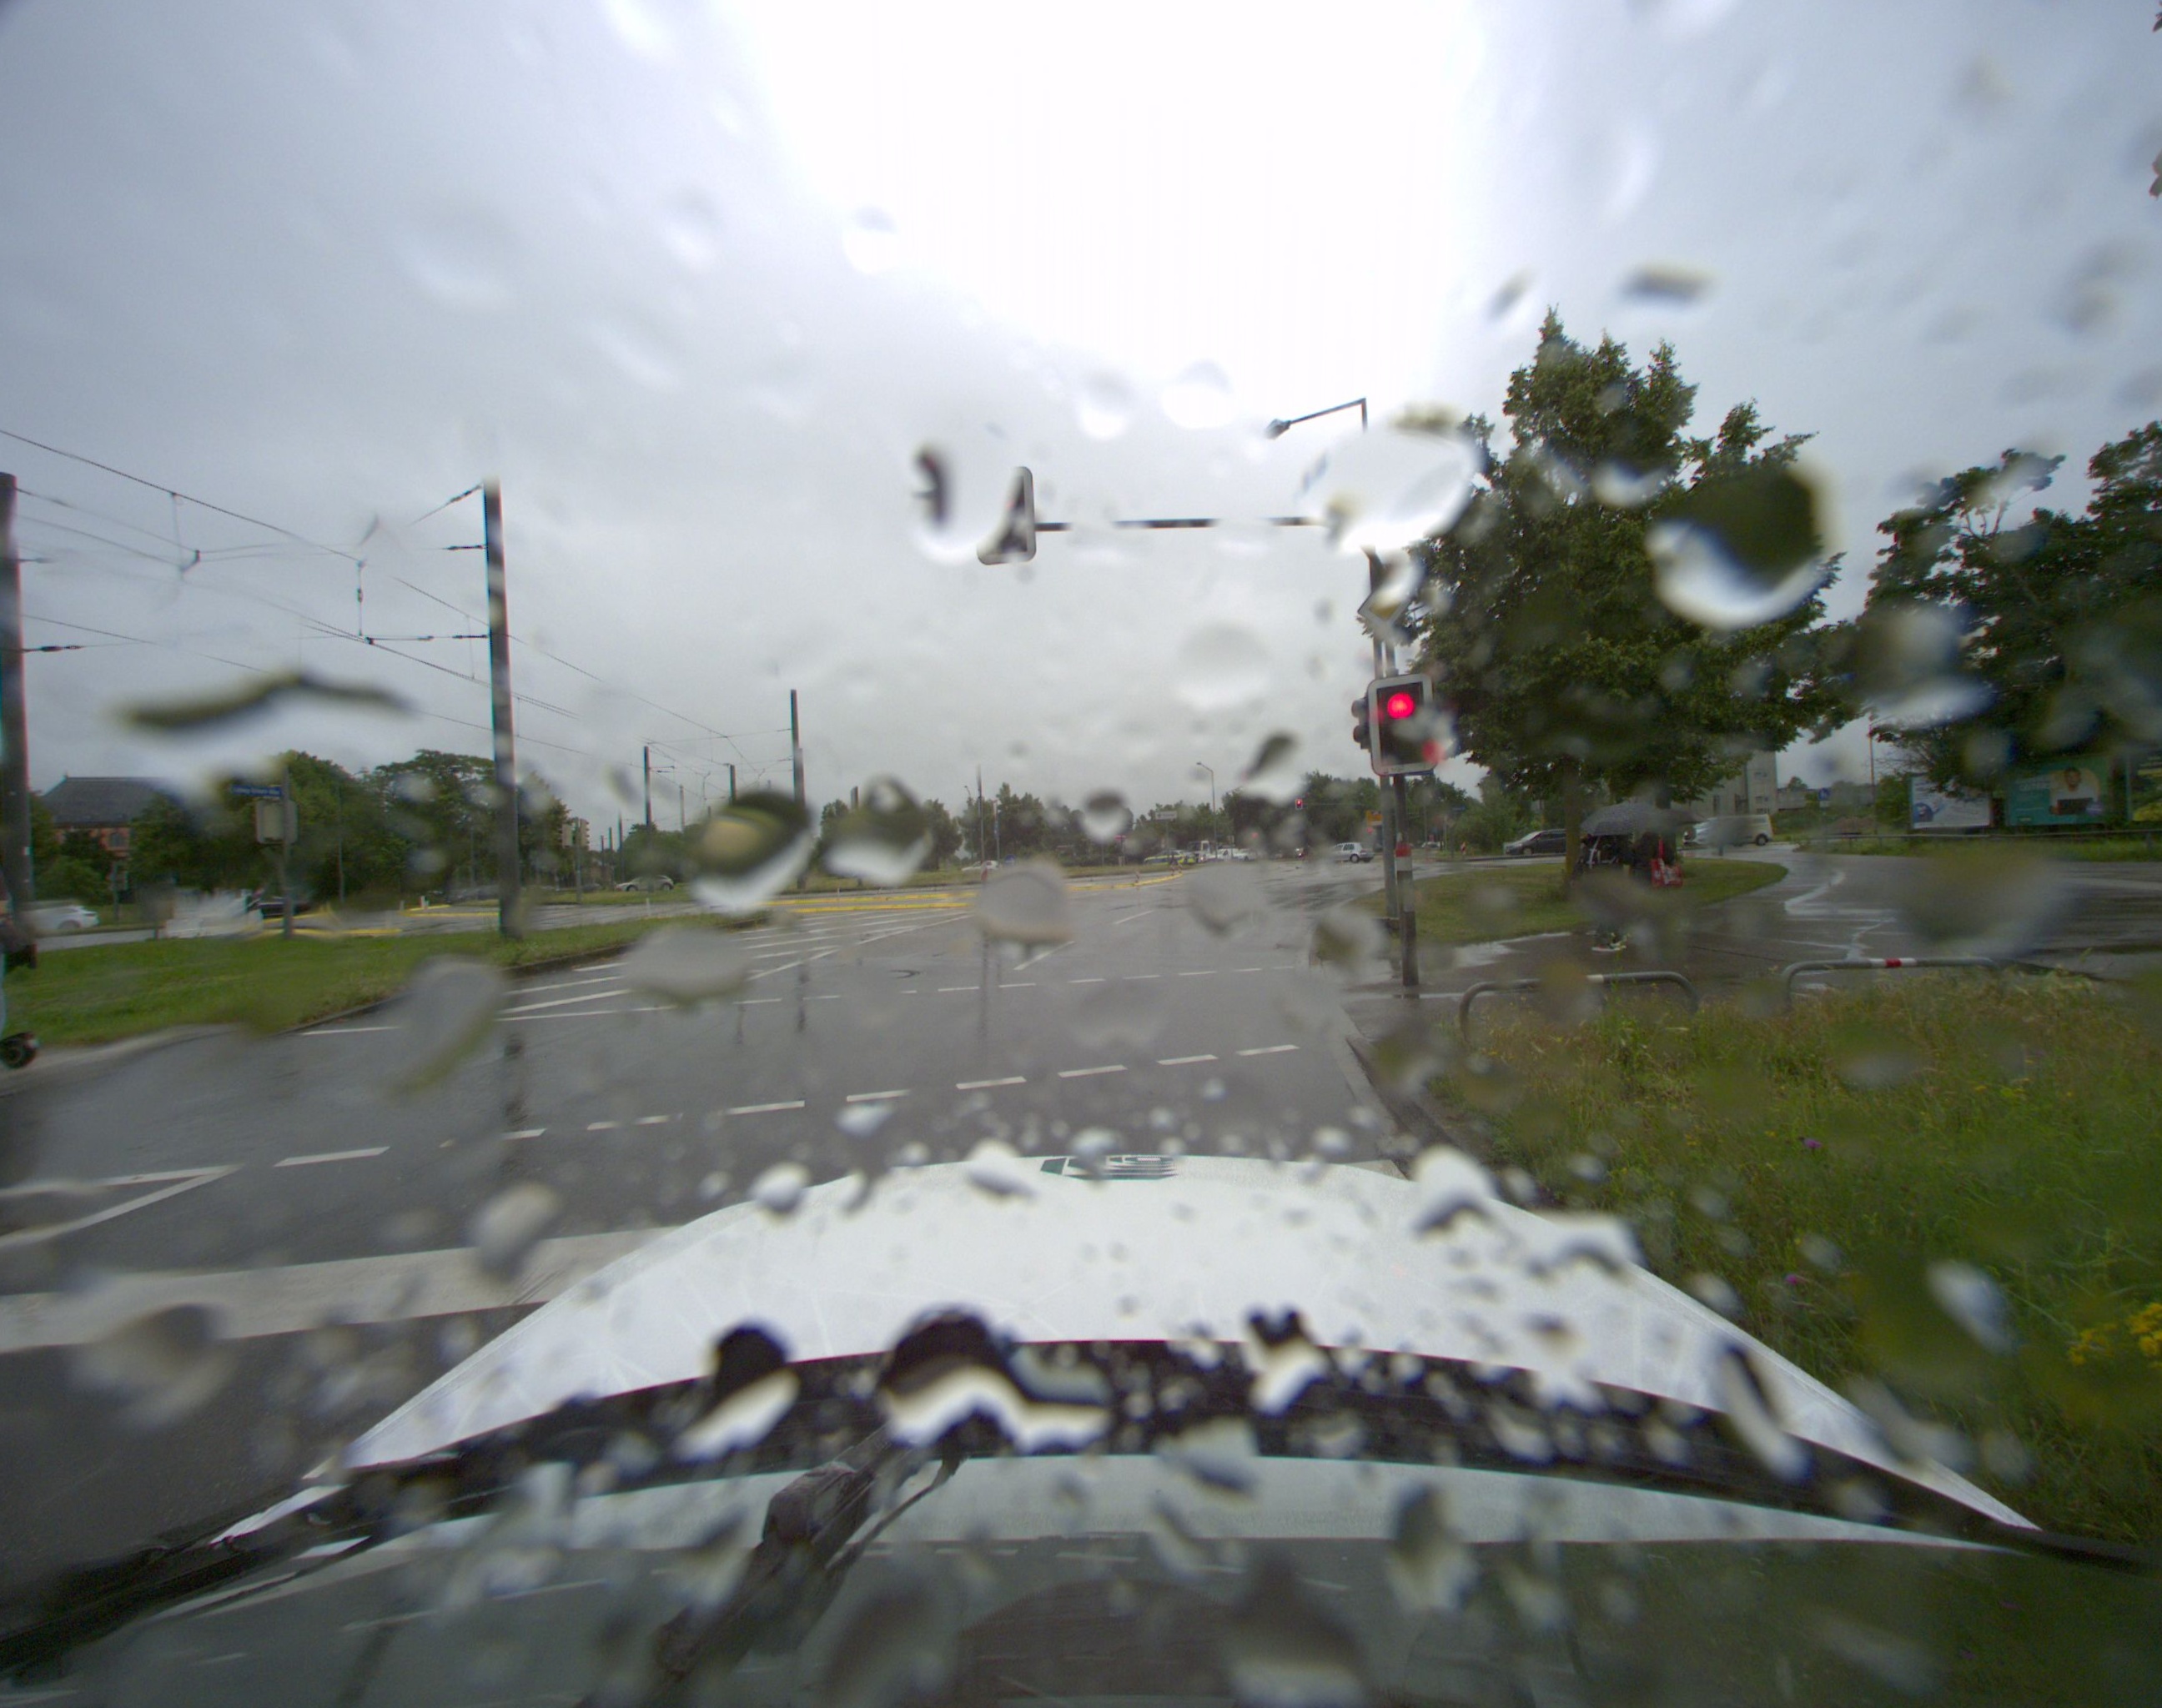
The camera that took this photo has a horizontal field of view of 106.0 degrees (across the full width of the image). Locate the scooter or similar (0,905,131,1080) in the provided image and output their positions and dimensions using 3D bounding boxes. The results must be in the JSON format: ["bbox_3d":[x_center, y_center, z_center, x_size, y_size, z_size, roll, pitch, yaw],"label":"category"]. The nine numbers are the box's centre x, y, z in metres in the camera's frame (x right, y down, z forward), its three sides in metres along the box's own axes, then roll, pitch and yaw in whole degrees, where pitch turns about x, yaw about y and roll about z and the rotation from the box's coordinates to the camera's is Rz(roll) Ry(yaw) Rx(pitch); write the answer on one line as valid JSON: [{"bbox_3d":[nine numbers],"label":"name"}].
[{"bbox_3d":[-8.482,1.082,6.234,1.586,1.259,0.446,-3,-1,-12],"label":"scooter or similar"}]

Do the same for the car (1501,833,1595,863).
[{"bbox_3d":[29.334,-0.344,51.286,4.732,1.851,2.005,0,-1,9],"label":"car"}]

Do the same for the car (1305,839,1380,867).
[{"bbox_3d":[18.512,-0.019,57.846,2.009,1.851,4.721,1,-1,-38],"label":"car"}]

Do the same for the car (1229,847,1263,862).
[{"bbox_3d":[19.105,0.125,94.330,1.779,1.662,4.436,-1,-1,43],"label":"car"}]

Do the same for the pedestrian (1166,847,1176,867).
[{"bbox_3d":[6.022,0.228,54.354,0.448,1.304,0.489,-3,-1,40],"label":"pedestrian"}]

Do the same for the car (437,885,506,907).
[{"bbox_3d":[-47.285,3.253,63.271,1.604,1.454,4.009,-2,0,22],"label":"car"}]

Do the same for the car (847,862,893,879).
[{"bbox_3d":[-20.792,1.605,80.318,3.960,1.454,1.624,-2,0,1],"label":"car"}]

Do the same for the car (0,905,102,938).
[{"bbox_3d":[-55.110,3.548,42.704,1.602,1.454,4.653,-3,0,35],"label":"car"}]

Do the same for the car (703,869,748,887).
[{"bbox_3d":[-37.398,2.490,85.741,1.660,1.816,4.025,-1,-1,31],"label":"car"}]

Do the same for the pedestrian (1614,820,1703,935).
[{"bbox_3d":[7.710,0.313,10.899,0.678,1.461,0.573,-3,-1,-3],"label":"pedestrian"}]

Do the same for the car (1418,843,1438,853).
[{"bbox_3d":[59.499,-0.963,139.601,1.779,1.662,4.024,-1,-1,43],"label":"car"}]

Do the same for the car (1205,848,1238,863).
[{"bbox_3d":[16.573,0.166,96.002,1.779,1.662,4.159,-1,-1,43],"label":"car"}]

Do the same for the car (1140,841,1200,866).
[{"bbox_3d":[7.257,0.011,66.457,2.011,1.851,4.719,-2,0,-40],"label":"car"}]

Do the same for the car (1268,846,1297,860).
[{"bbox_3d":[26.721,-0.141,107.997,1.779,1.662,4.437,-3,0,43],"label":"car"}]

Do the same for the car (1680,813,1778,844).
[{"bbox_3d":[40.997,-1.625,51.618,4.750,1.851,1.997,0,-1,-4],"label":"car"}]

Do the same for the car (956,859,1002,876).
[{"bbox_3d":[-9.807,1.322,78.386,3.949,1.454,1.628,-2,0,10],"label":"car"}]

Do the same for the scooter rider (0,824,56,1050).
[{"bbox_3d":[-8.455,0.639,6.248,0.531,1.709,0.432,-3,-1,-11],"label":"scooter rider"}]

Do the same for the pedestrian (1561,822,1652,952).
[{"bbox_3d":[6.399,0.385,9.945,0.619,1.522,0.741,-1,0,0],"label":"pedestrian"}]

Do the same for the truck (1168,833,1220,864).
[{"bbox_3d":[10.442,-0.404,74.320,2.439,2.686,8.105,-1,-1,25],"label":"truck"}]

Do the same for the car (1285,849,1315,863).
[{"bbox_3d":[28.180,0.259,104.672,1.779,1.662,4.436,-1,-1,43],"label":"car"}]

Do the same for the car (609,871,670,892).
[{"bbox_3d":[-36.916,2.292,68.151,1.603,1.454,4.138,-3,0,43],"label":"car"}]
